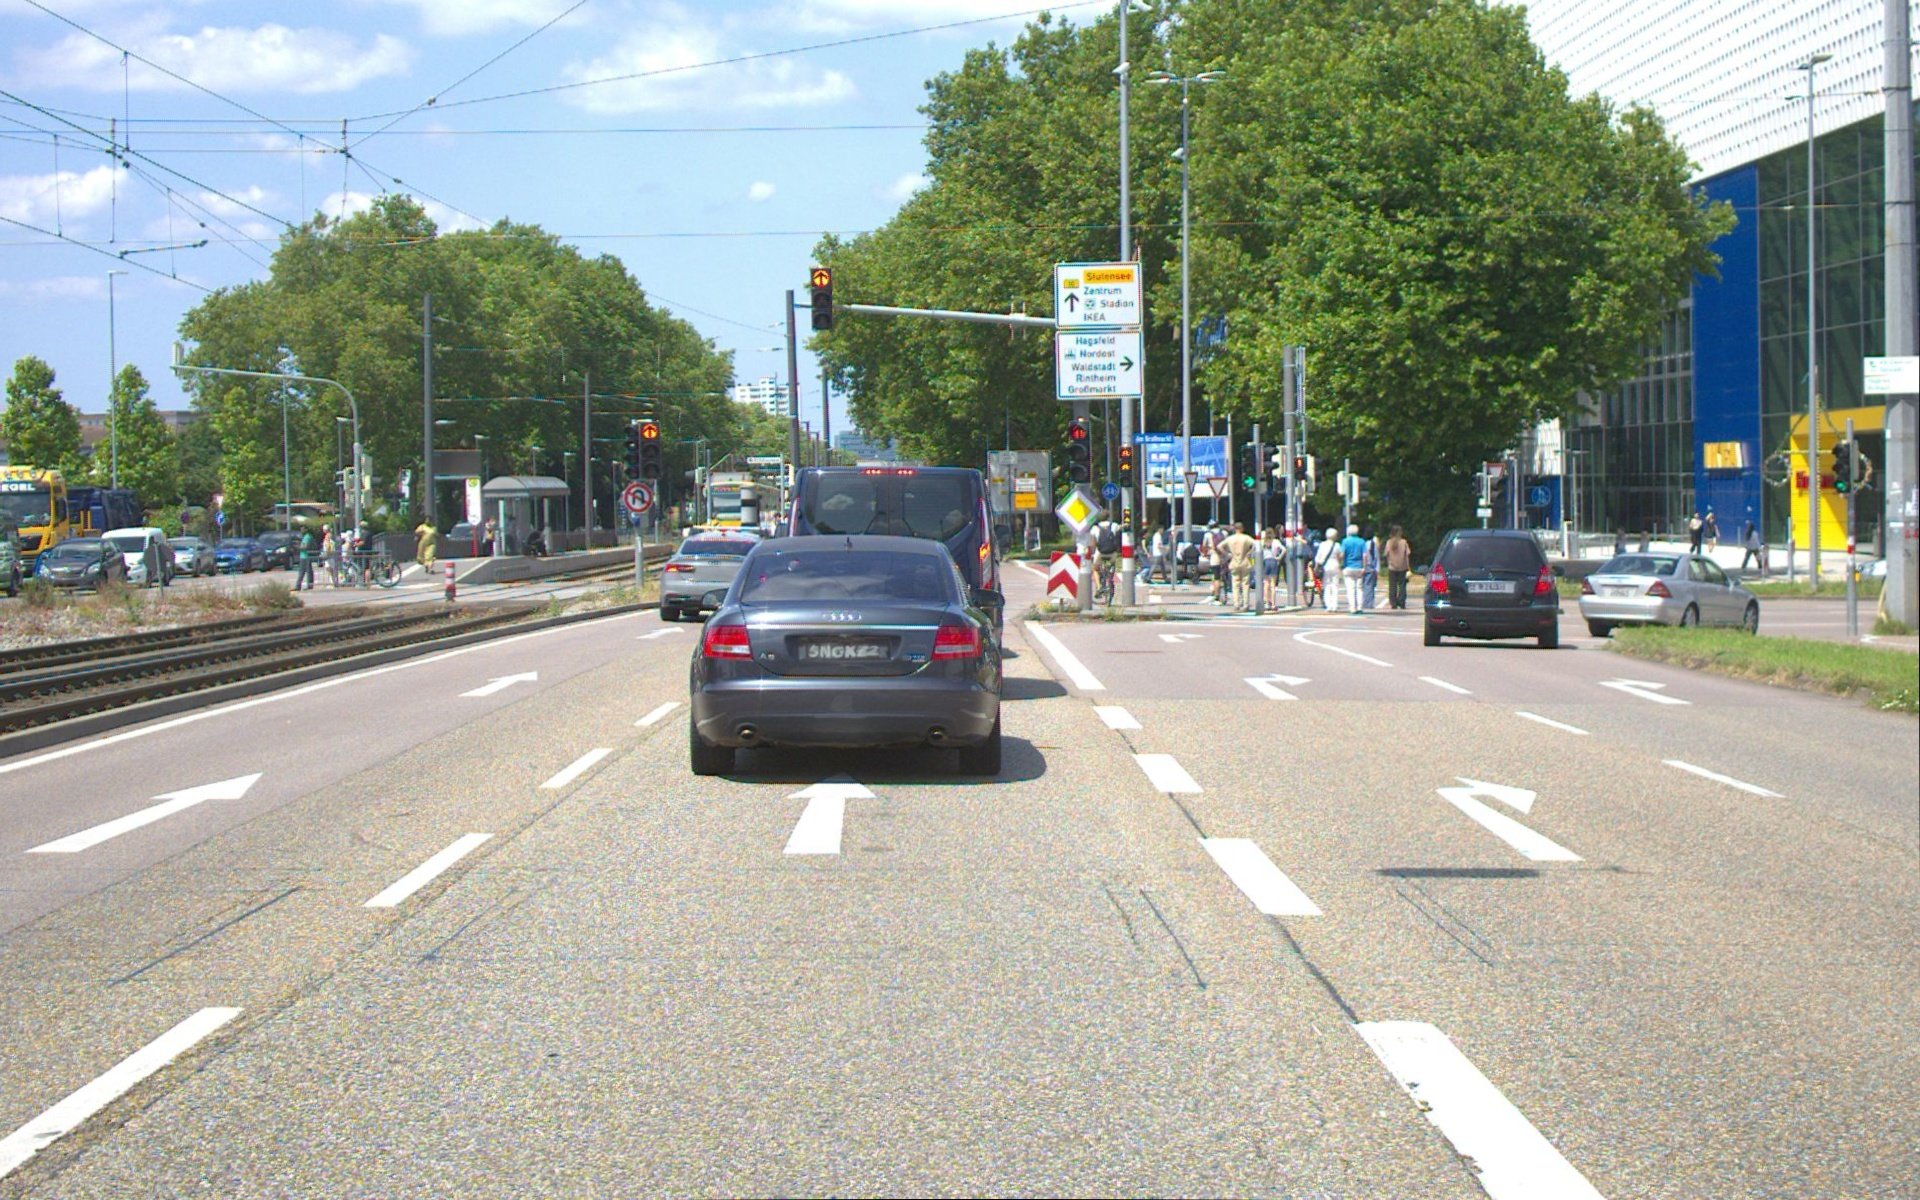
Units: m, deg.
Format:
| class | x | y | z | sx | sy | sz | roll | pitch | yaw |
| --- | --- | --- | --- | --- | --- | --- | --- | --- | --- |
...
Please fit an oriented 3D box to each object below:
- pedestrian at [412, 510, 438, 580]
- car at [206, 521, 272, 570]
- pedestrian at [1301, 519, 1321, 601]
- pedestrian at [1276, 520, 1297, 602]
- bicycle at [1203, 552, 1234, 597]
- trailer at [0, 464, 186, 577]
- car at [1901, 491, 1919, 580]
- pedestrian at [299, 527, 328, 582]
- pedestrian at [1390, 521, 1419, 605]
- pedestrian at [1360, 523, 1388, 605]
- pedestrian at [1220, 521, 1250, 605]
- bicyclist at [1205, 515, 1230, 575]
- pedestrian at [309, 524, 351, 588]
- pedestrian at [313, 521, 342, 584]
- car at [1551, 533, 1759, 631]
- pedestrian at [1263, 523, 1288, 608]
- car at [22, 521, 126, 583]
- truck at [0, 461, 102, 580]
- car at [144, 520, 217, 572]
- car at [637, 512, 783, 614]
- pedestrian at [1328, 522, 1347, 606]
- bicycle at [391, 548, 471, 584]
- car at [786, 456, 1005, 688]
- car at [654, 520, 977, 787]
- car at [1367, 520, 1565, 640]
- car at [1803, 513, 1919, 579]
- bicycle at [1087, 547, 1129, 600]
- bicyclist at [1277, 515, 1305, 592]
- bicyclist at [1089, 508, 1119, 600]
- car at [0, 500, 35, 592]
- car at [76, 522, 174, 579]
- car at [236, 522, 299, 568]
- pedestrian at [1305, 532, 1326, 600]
| class | x | y | z | sx | sy | sz | roll | pitch | yaw |
| --- | --- | --- | --- | --- | --- | --- | --- | --- | --- |
| pedestrian | -15.298 | -1.579 | 98.285 | 0.685 | 2.007 | 0.573 | 0 | 1 | -4 |
| car | -28.542 | -2.173 | 136.107 | 1.817 | 1.876 | 4.000 | 0 | 1 | -1 |
| pedestrian | 7.018 | -0.797 | 68.748 | 0.339 | 1.629 | 0.377 | 1 | 1 | 3 |
| pedestrian | 6.541 | -0.784 | 68.805 | 0.381 | 1.629 | 0.377 | 1 | 1 | 3 |
| bicycle | 5.159 | -0.515 | 68.718 | 0.550 | 0.874 | 1.697 | 1 | 1 | 2 |
| trailer | -28.941 | -2.641 | 114.933 | 2.767 | 3.506 | 15.879 | 0 | 1 | -1 |
| car | 26.841 | -1.647 | 88.978 | 4.763 | 2.301 | 1.999 | 1 | 1 | 16 |
| pedestrian | -17.033 | -1.197 | 90.586 | 0.685 | 1.438 | 0.573 | 0 | 1 | -4 |
| pedestrian | 8.886 | -0.742 | 68.719 | 0.521 | 1.664 | 0.494 | 1 | 1 | 3 |
| pedestrian | 8.267 | -0.720 | 68.729 | 0.504 | 1.629 | 0.449 | 1 | 1 | 3 |
| pedestrian | 5.329 | -0.720 | 66.642 | 0.554 | 1.629 | 0.433 | 1 | 1 | 3 |
| bicyclist | 5.150 | -1.095 | 68.698 | 0.470 | 1.189 | 0.791 | 0 | 1 | 2 |
| pedestrian | -17.118 | -1.199 | 93.453 | 0.824 | 1.714 | 0.774 | 1 | 1 | 22 |
| pedestrian | -16.526 | -1.243 | 89.782 | 0.685 | 1.631 | 0.573 | 0 | 1 | -4 |
| car | 11.407 | -0.309 | 56.256 | 1.997 | 1.481 | 4.159 | 2 | 2 | 31 |
| pedestrian | 6.114 | -0.670 | 66.581 | 0.445 | 1.629 | 0.430 | 1 | 1 | 3 |
| car | -25.223 | -1.390 | 98.046 | 1.822 | 1.664 | 4.462 | 1 | 1 | 0 |
| truck | -28.831 | -2.470 | 106.950 | 2.767 | 3.557 | 6.440 | 0 | 1 | -1 |
| car | -28.666 | -1.999 | 126.461 | 1.817 | 1.876 | 4.000 | 0 | 1 | -1 |
| car | -3.902 | -0.611 | 54.201 | 1.993 | 1.481 | 4.000 | 2 | 2 | 0 |
| pedestrian | 7.303 | -0.701 | 66.591 | 0.320 | 1.629 | 0.377 | 1 | 1 | 3 |
| bicycle | -13.902 | -0.891 | 90.367 | 2.055 | 0.922 | 0.753 | 0 | 1 | -10 |
| car | -0.571 | -0.272 | 30.954 | 1.836 | 1.943 | 4.000 | 0 | 1 | -1 |
| car | -0.828 | 0.253 | 21.337 | 1.792 | 1.450 | 4.000 | -1 | 2 | 0 |
| car | 6.758 | -0.306 | 46.307 | 1.993 | 1.481 | 4.000 | 2 | 2 | 0 |
| car | 22.470 | -1.254 | 81.443 | 4.498 | 1.481 | 2.000 | 2 | 2 | 3 |
| bicycle | 2.882 | -0.523 | 67.309 | 0.688 | 0.990 | 2.752 | 1 | 1 | 0 |
| bicyclist | 7.578 | -1.066 | 78.724 | 0.529 | 1.758 | 0.827 | 0 | 1 | 13 |
| bicyclist | 2.809 | -0.902 | 66.946 | 0.528 | 1.783 | 1.088 | 0 | 1 | 0 |
| car | -28.393 | -1.503 | 98.313 | 2.243 | 2.580 | 6.236 | -2 | 2 | -2 |
| car | -25.565 | -1.536 | 105.410 | 1.822 | 1.664 | 4.461 | 1 | 1 | 1 |
| car | -28.525 | -2.271 | 141.737 | 1.817 | 1.876 | 4.000 | 0 | 1 | -1 |
| pedestrian | 6.893 | -0.660 | 66.688 | 0.372 | 1.299 | 0.365 | 1 | 1 | 3 |
